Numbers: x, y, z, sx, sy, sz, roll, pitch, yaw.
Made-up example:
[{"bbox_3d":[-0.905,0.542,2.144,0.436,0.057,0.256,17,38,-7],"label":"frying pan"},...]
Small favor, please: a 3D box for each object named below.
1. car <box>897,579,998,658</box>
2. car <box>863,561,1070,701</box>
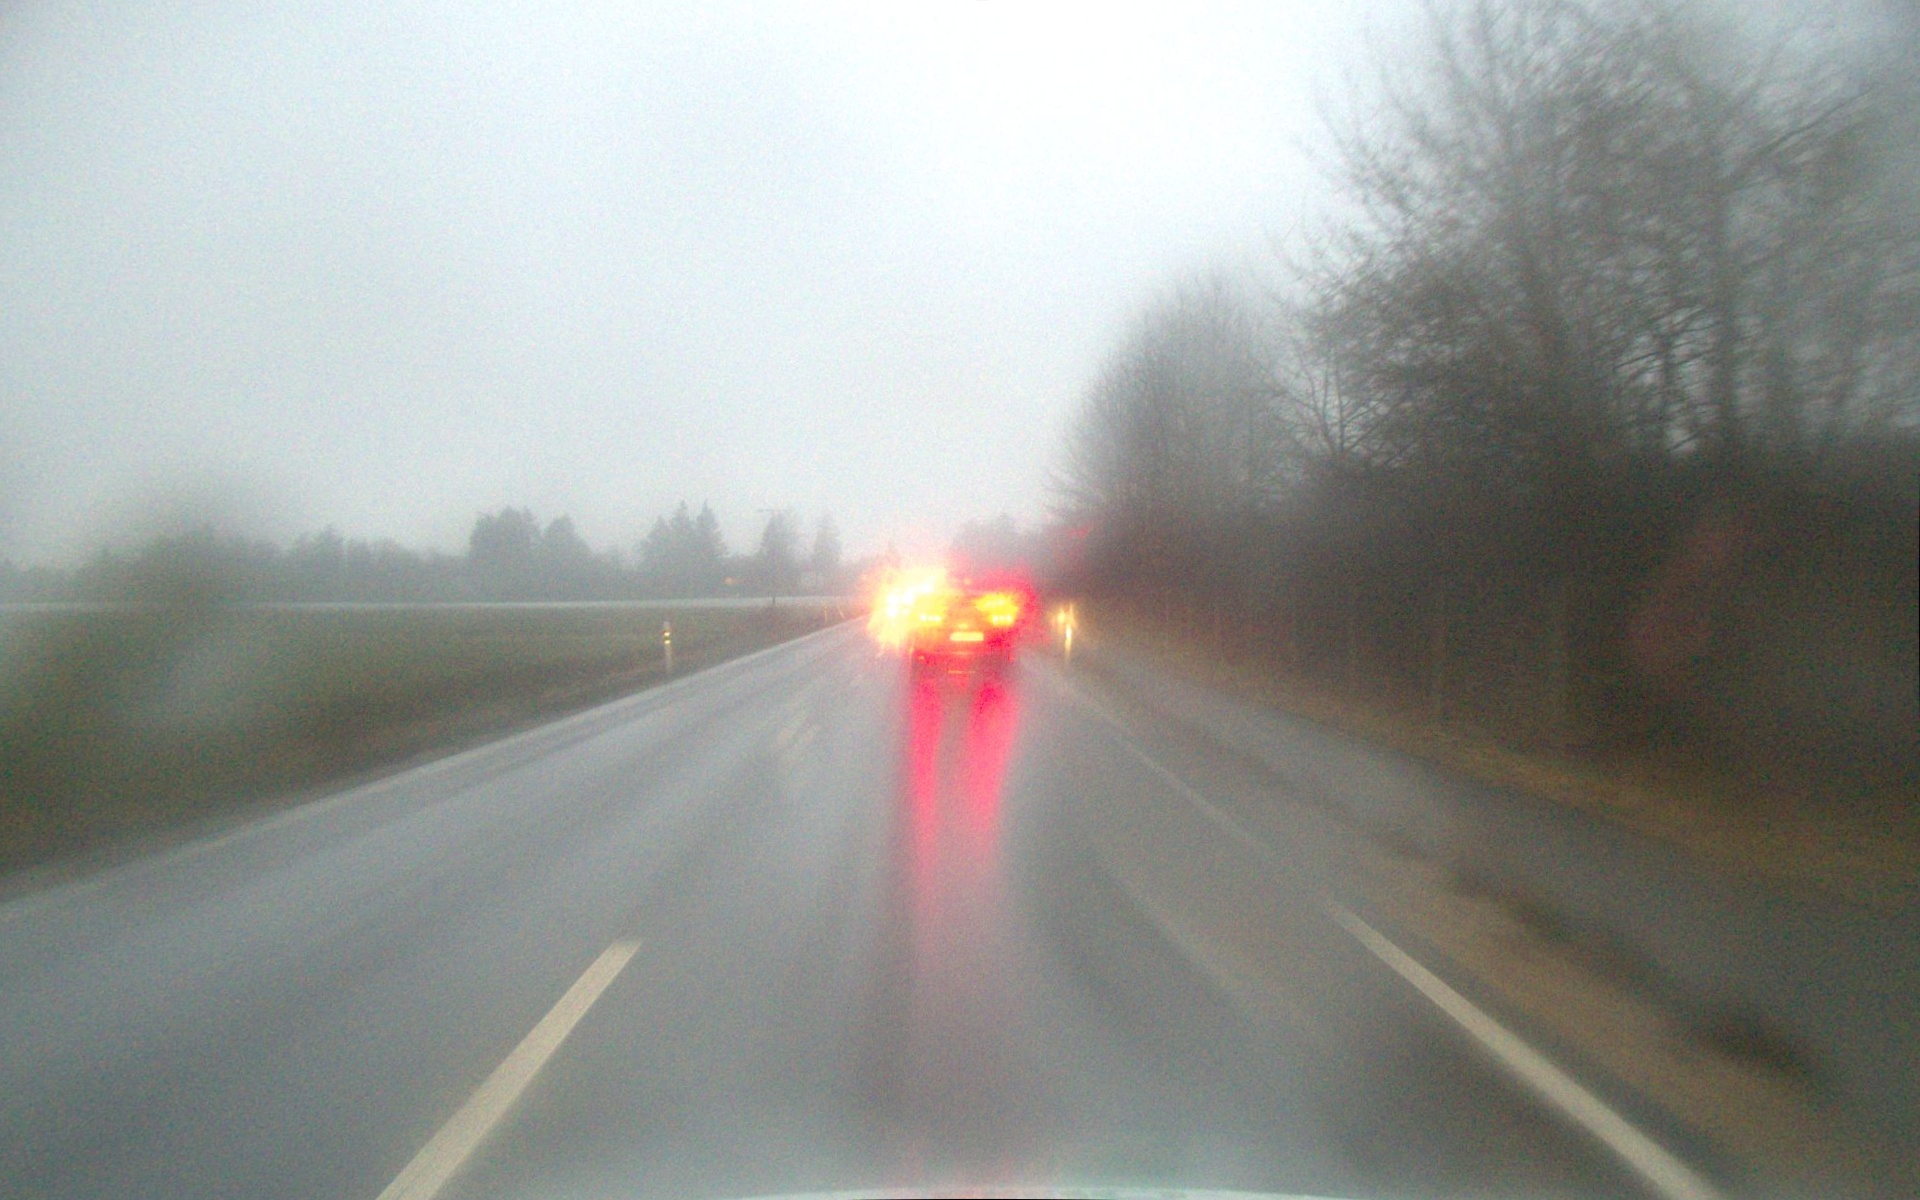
[{"bbox_3d":[-0.364,0.465,47.794,2.699,2.071,6.590,-1,1,0],"label":"car"},{"bbox_3d":[0.083,0.432,28.330,3.100,2.071,6.851,-1,1,0],"label":"car"}]
